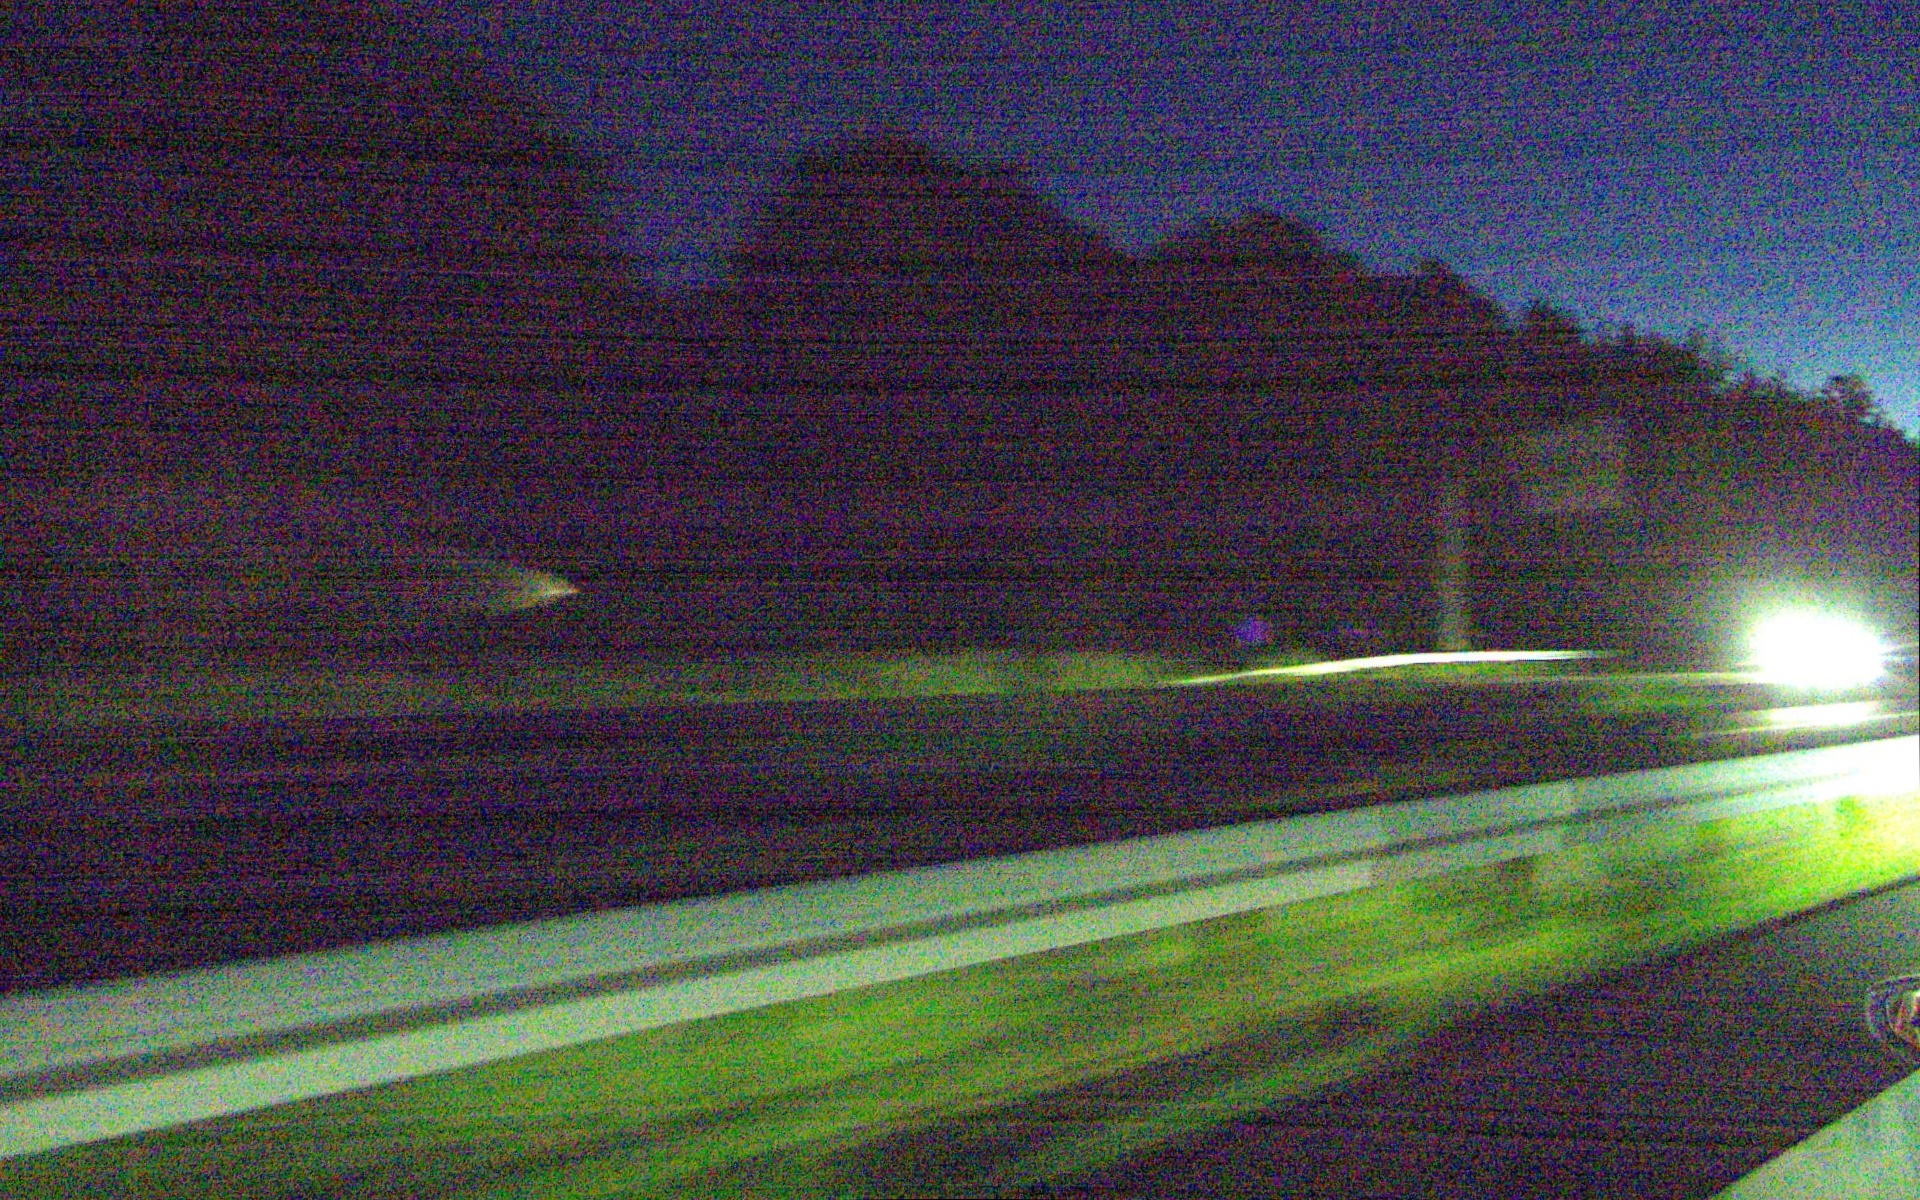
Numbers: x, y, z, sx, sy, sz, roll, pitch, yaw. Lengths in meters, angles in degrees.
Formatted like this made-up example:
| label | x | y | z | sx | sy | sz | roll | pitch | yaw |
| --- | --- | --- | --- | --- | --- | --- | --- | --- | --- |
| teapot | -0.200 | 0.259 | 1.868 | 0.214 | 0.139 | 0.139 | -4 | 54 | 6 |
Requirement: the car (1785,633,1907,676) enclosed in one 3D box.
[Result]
| label | x | y | z | sx | sy | sz | roll | pitch | yaw |
| --- | --- | --- | --- | --- | --- | --- | --- | --- | --- |
| car | 33.490 | 2.034 | 37.955 | 5.141 | 1.523 | 1.984 | 1 | -3 | -31 |
